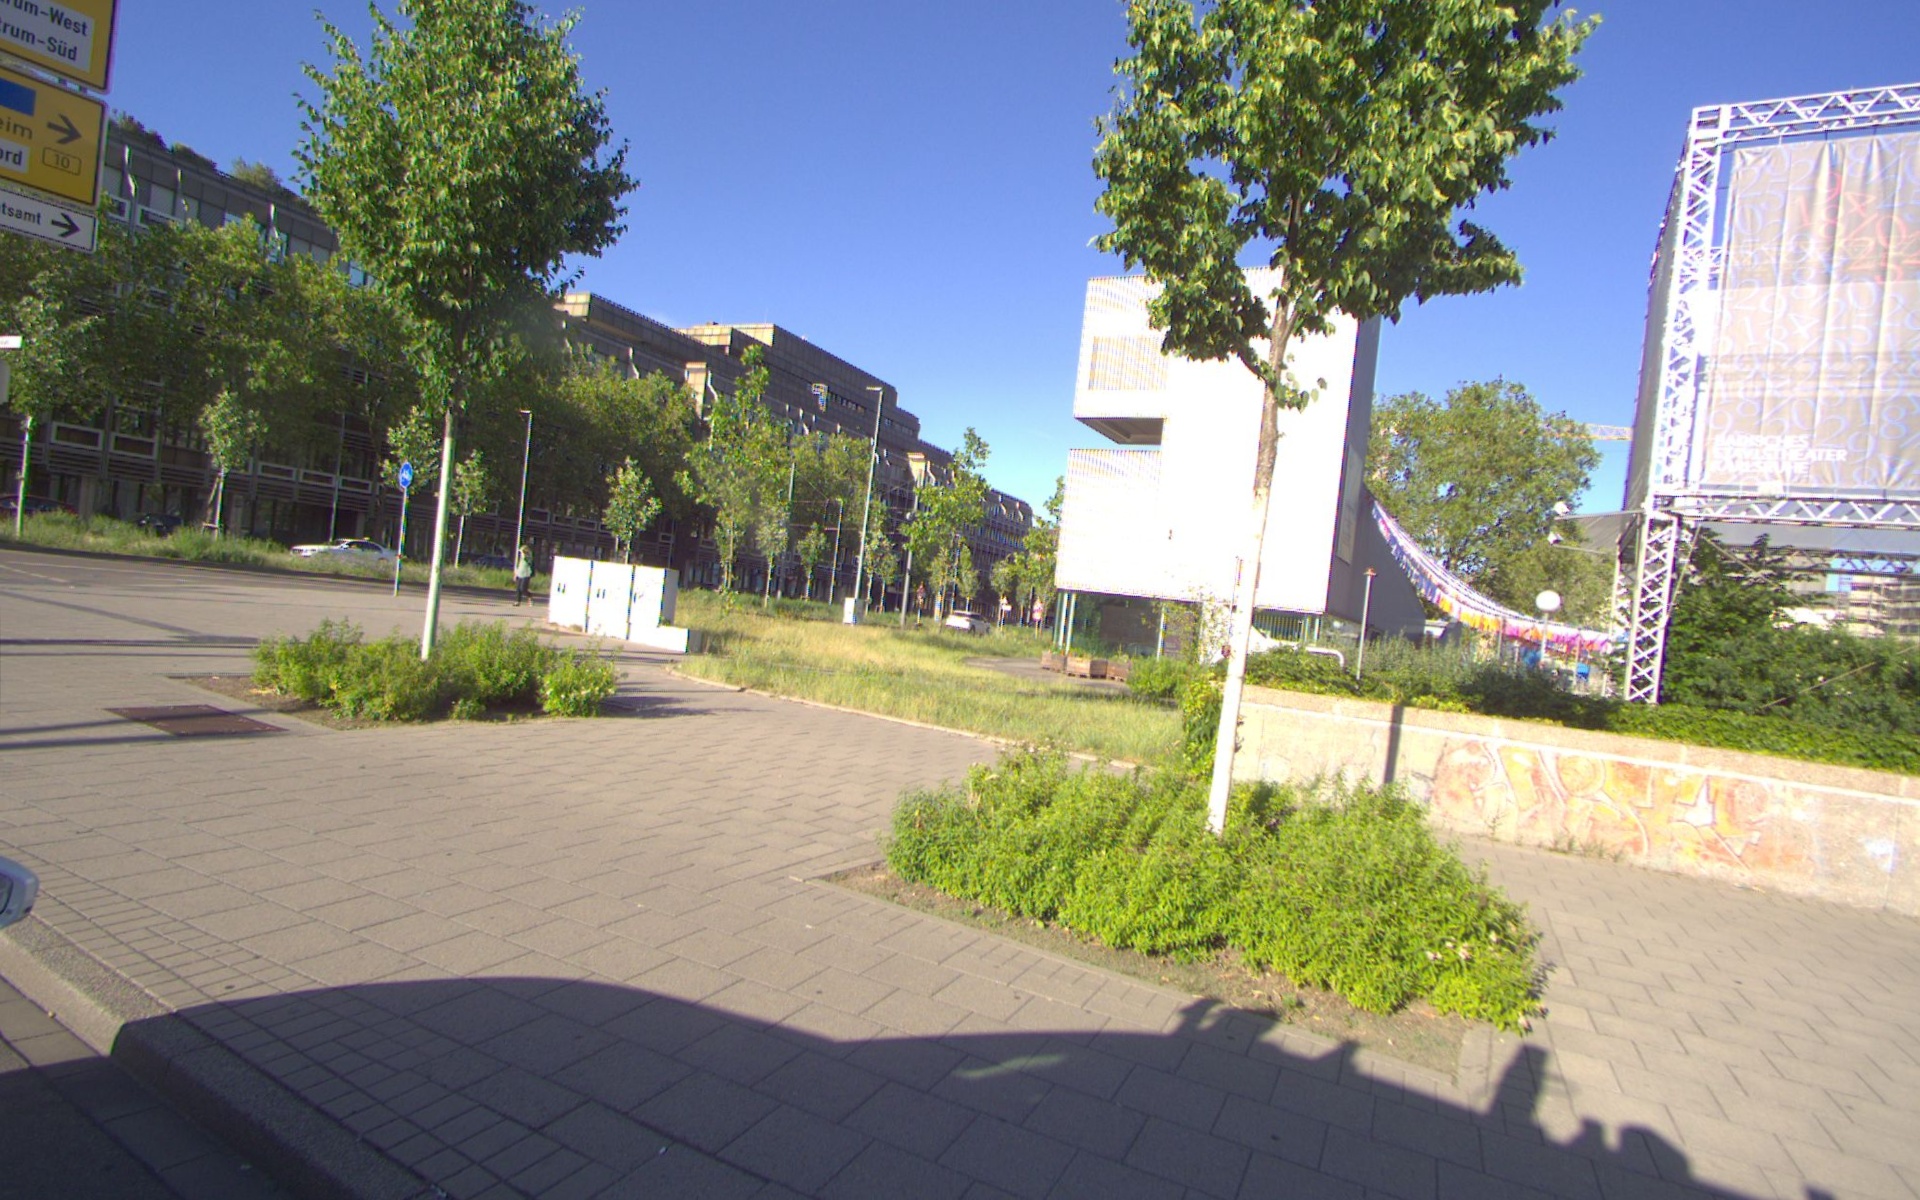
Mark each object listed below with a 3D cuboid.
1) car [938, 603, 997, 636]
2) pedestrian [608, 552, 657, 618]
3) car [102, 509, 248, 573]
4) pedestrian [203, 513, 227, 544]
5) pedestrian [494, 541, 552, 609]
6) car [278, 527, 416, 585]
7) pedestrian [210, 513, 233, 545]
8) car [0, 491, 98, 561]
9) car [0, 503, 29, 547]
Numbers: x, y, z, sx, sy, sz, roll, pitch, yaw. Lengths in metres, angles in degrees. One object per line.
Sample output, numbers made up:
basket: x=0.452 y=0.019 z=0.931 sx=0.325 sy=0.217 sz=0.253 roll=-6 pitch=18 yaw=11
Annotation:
car: x=0.543 y=1.304 z=66.617 sx=1.965 sy=1.680 sz=4.402 roll=8 pitch=0 yaw=26
pedestrian: x=-9.391 y=-0.424 z=28.847 sx=0.925 sy=1.750 sz=0.695 roll=7 pitch=1 yaw=18
car: x=-34.116 y=-2.529 z=43.882 sx=1.965 sy=2.036 sz=4.458 roll=7 pitch=-2 yaw=27
pedestrian: x=-42.789 y=-4.104 z=57.778 sx=0.728 sy=1.678 sz=0.665 roll=7 pitch=1 yaw=25
pedestrian: x=-11.391 y=-0.643 z=26.222 sx=0.925 sy=1.650 sz=0.803 roll=7 pitch=1 yaw=18
car: x=-30.680 y=-2.182 z=50.585 sx=2.062 sy=2.036 sz=5.455 roll=6 pitch=-2 yaw=29
pedestrian: x=-42.069 y=-4.027 z=57.318 sx=0.728 sy=1.678 sz=0.665 roll=7 pitch=1 yaw=25
car: x=-33.318 y=-2.711 z=35.375 sx=1.966 sy=2.037 sz=3.997 roll=6 pitch=-2 yaw=29
car: x=-37.248 y=-3.043 z=36.945 sx=1.836 sy=1.525 sz=3.997 roll=7 pitch=-2 yaw=29
